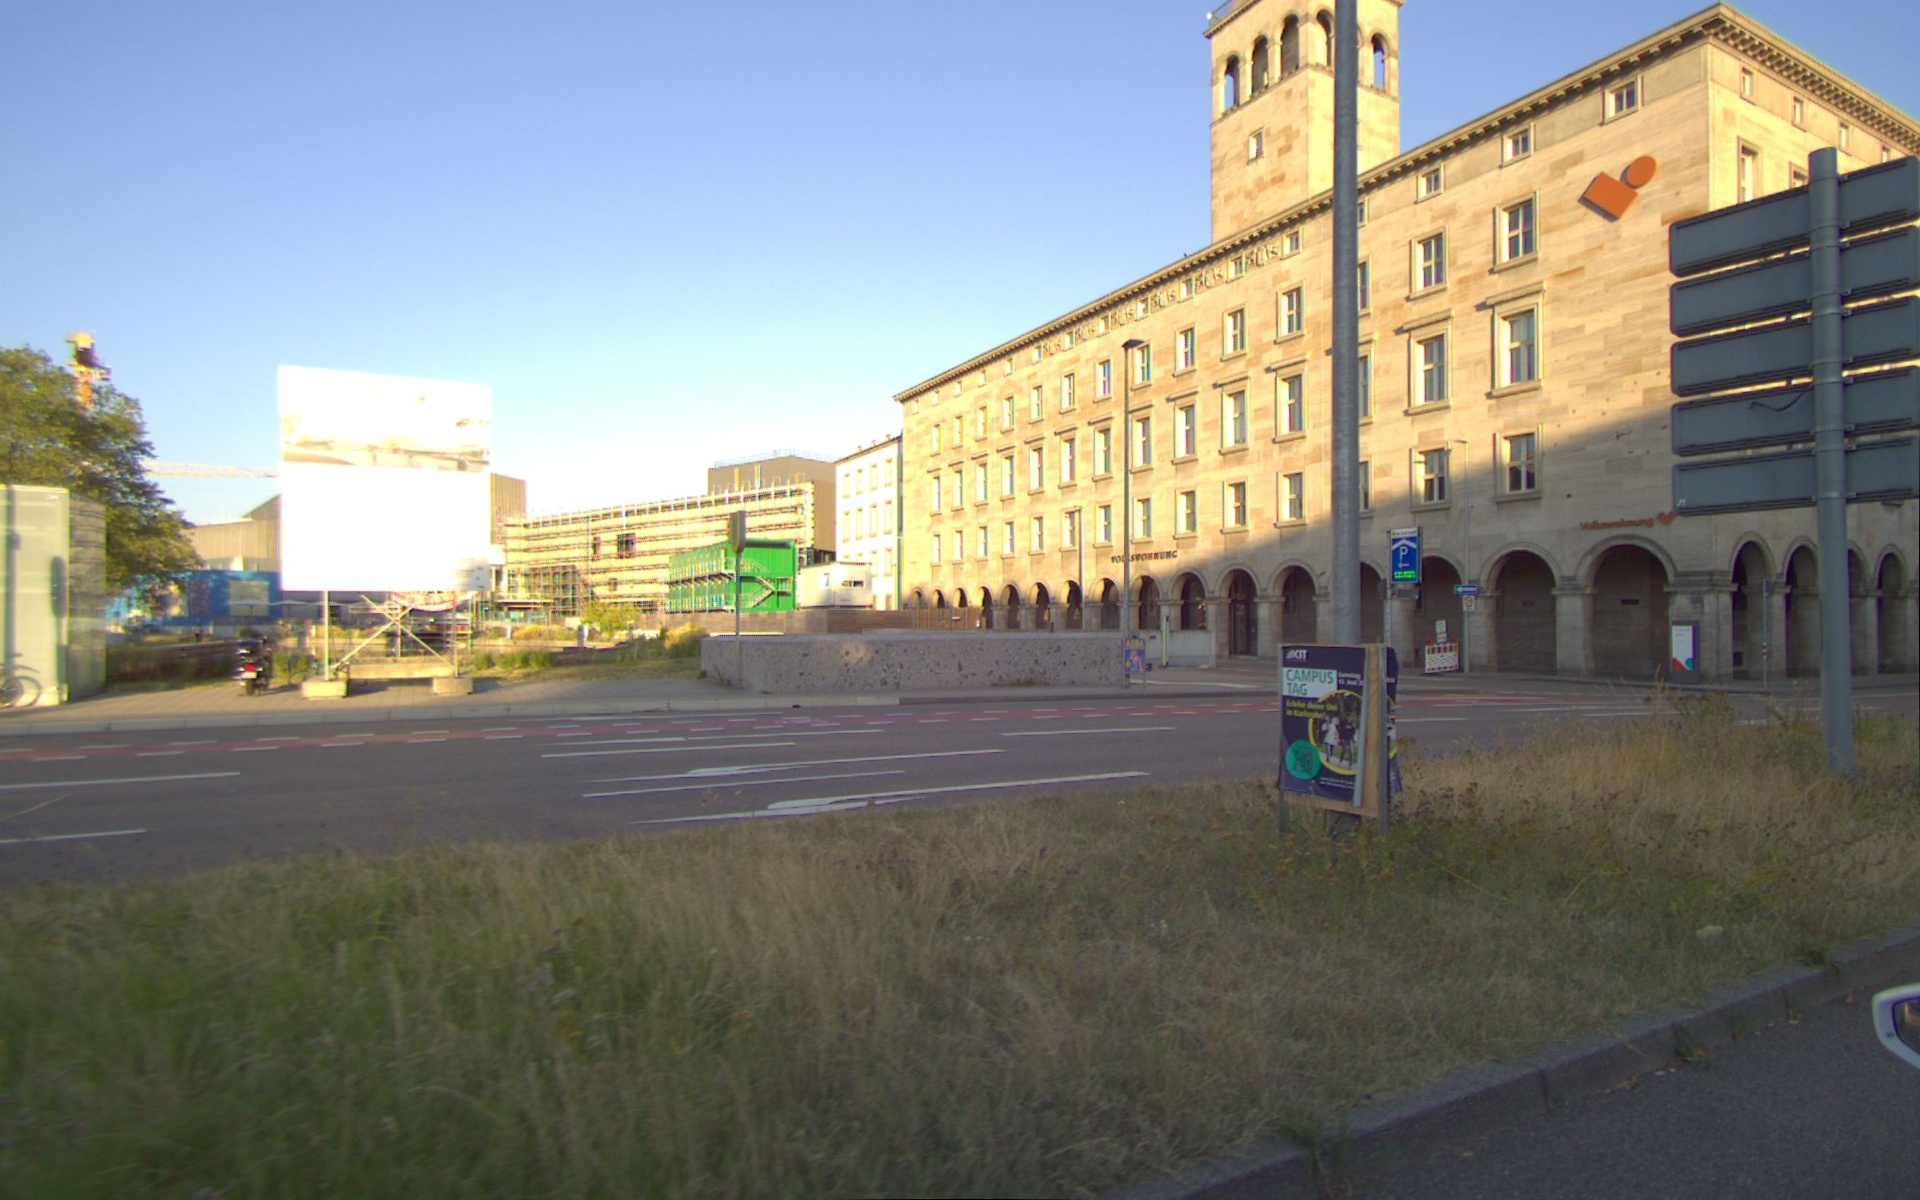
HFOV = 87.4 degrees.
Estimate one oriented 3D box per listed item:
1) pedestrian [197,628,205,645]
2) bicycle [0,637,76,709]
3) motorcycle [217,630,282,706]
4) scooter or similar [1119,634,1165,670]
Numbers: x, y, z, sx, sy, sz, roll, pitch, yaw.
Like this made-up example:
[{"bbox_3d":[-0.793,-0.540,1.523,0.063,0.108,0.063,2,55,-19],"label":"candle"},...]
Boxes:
[{"bbox_3d":[-61.051,2.938,80.810,0.568,1.426,0.381,-1,-1,41],"label":"pedestrian"},{"bbox_3d":[-18.248,1.361,18.782,2.481,1.341,0.614,1,-1,-32],"label":"bicycle"},{"bbox_3d":[-15.142,1.398,21.485,0.830,1.401,3.217,1,0,-30],"label":"motorcycle"},{"bbox_3d":[6.454,1.821,35.655,1.545,1.240,0.543,-1,-2,43],"label":"scooter or similar"}]
